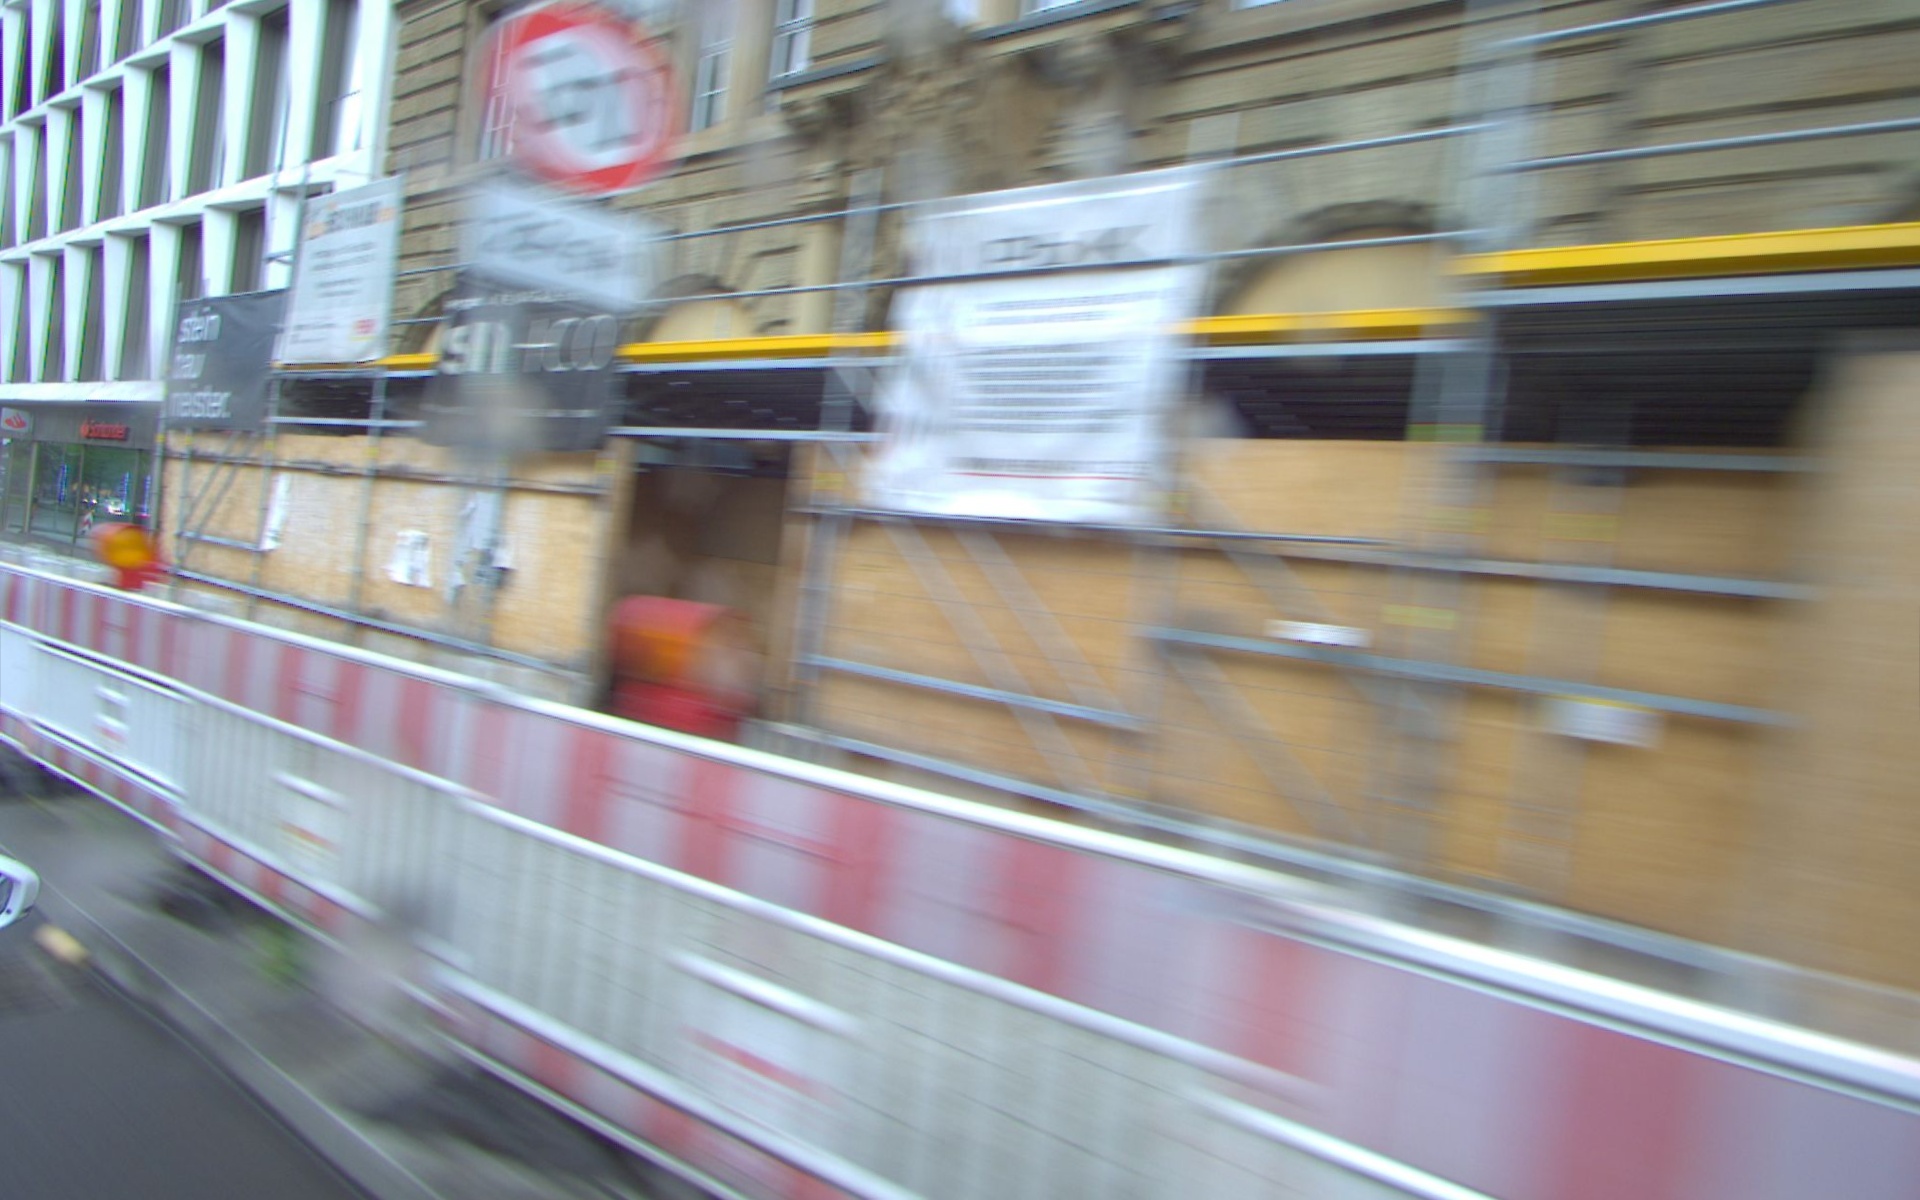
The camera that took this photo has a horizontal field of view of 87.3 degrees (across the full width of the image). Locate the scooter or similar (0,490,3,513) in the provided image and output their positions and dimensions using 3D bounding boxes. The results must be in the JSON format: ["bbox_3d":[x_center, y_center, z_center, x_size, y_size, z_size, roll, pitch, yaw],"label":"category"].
[{"bbox_3d":[-24.476,-2.171,25.296,1.173,1.251,0.411,7,0,43],"label":"scooter or similar"}]
